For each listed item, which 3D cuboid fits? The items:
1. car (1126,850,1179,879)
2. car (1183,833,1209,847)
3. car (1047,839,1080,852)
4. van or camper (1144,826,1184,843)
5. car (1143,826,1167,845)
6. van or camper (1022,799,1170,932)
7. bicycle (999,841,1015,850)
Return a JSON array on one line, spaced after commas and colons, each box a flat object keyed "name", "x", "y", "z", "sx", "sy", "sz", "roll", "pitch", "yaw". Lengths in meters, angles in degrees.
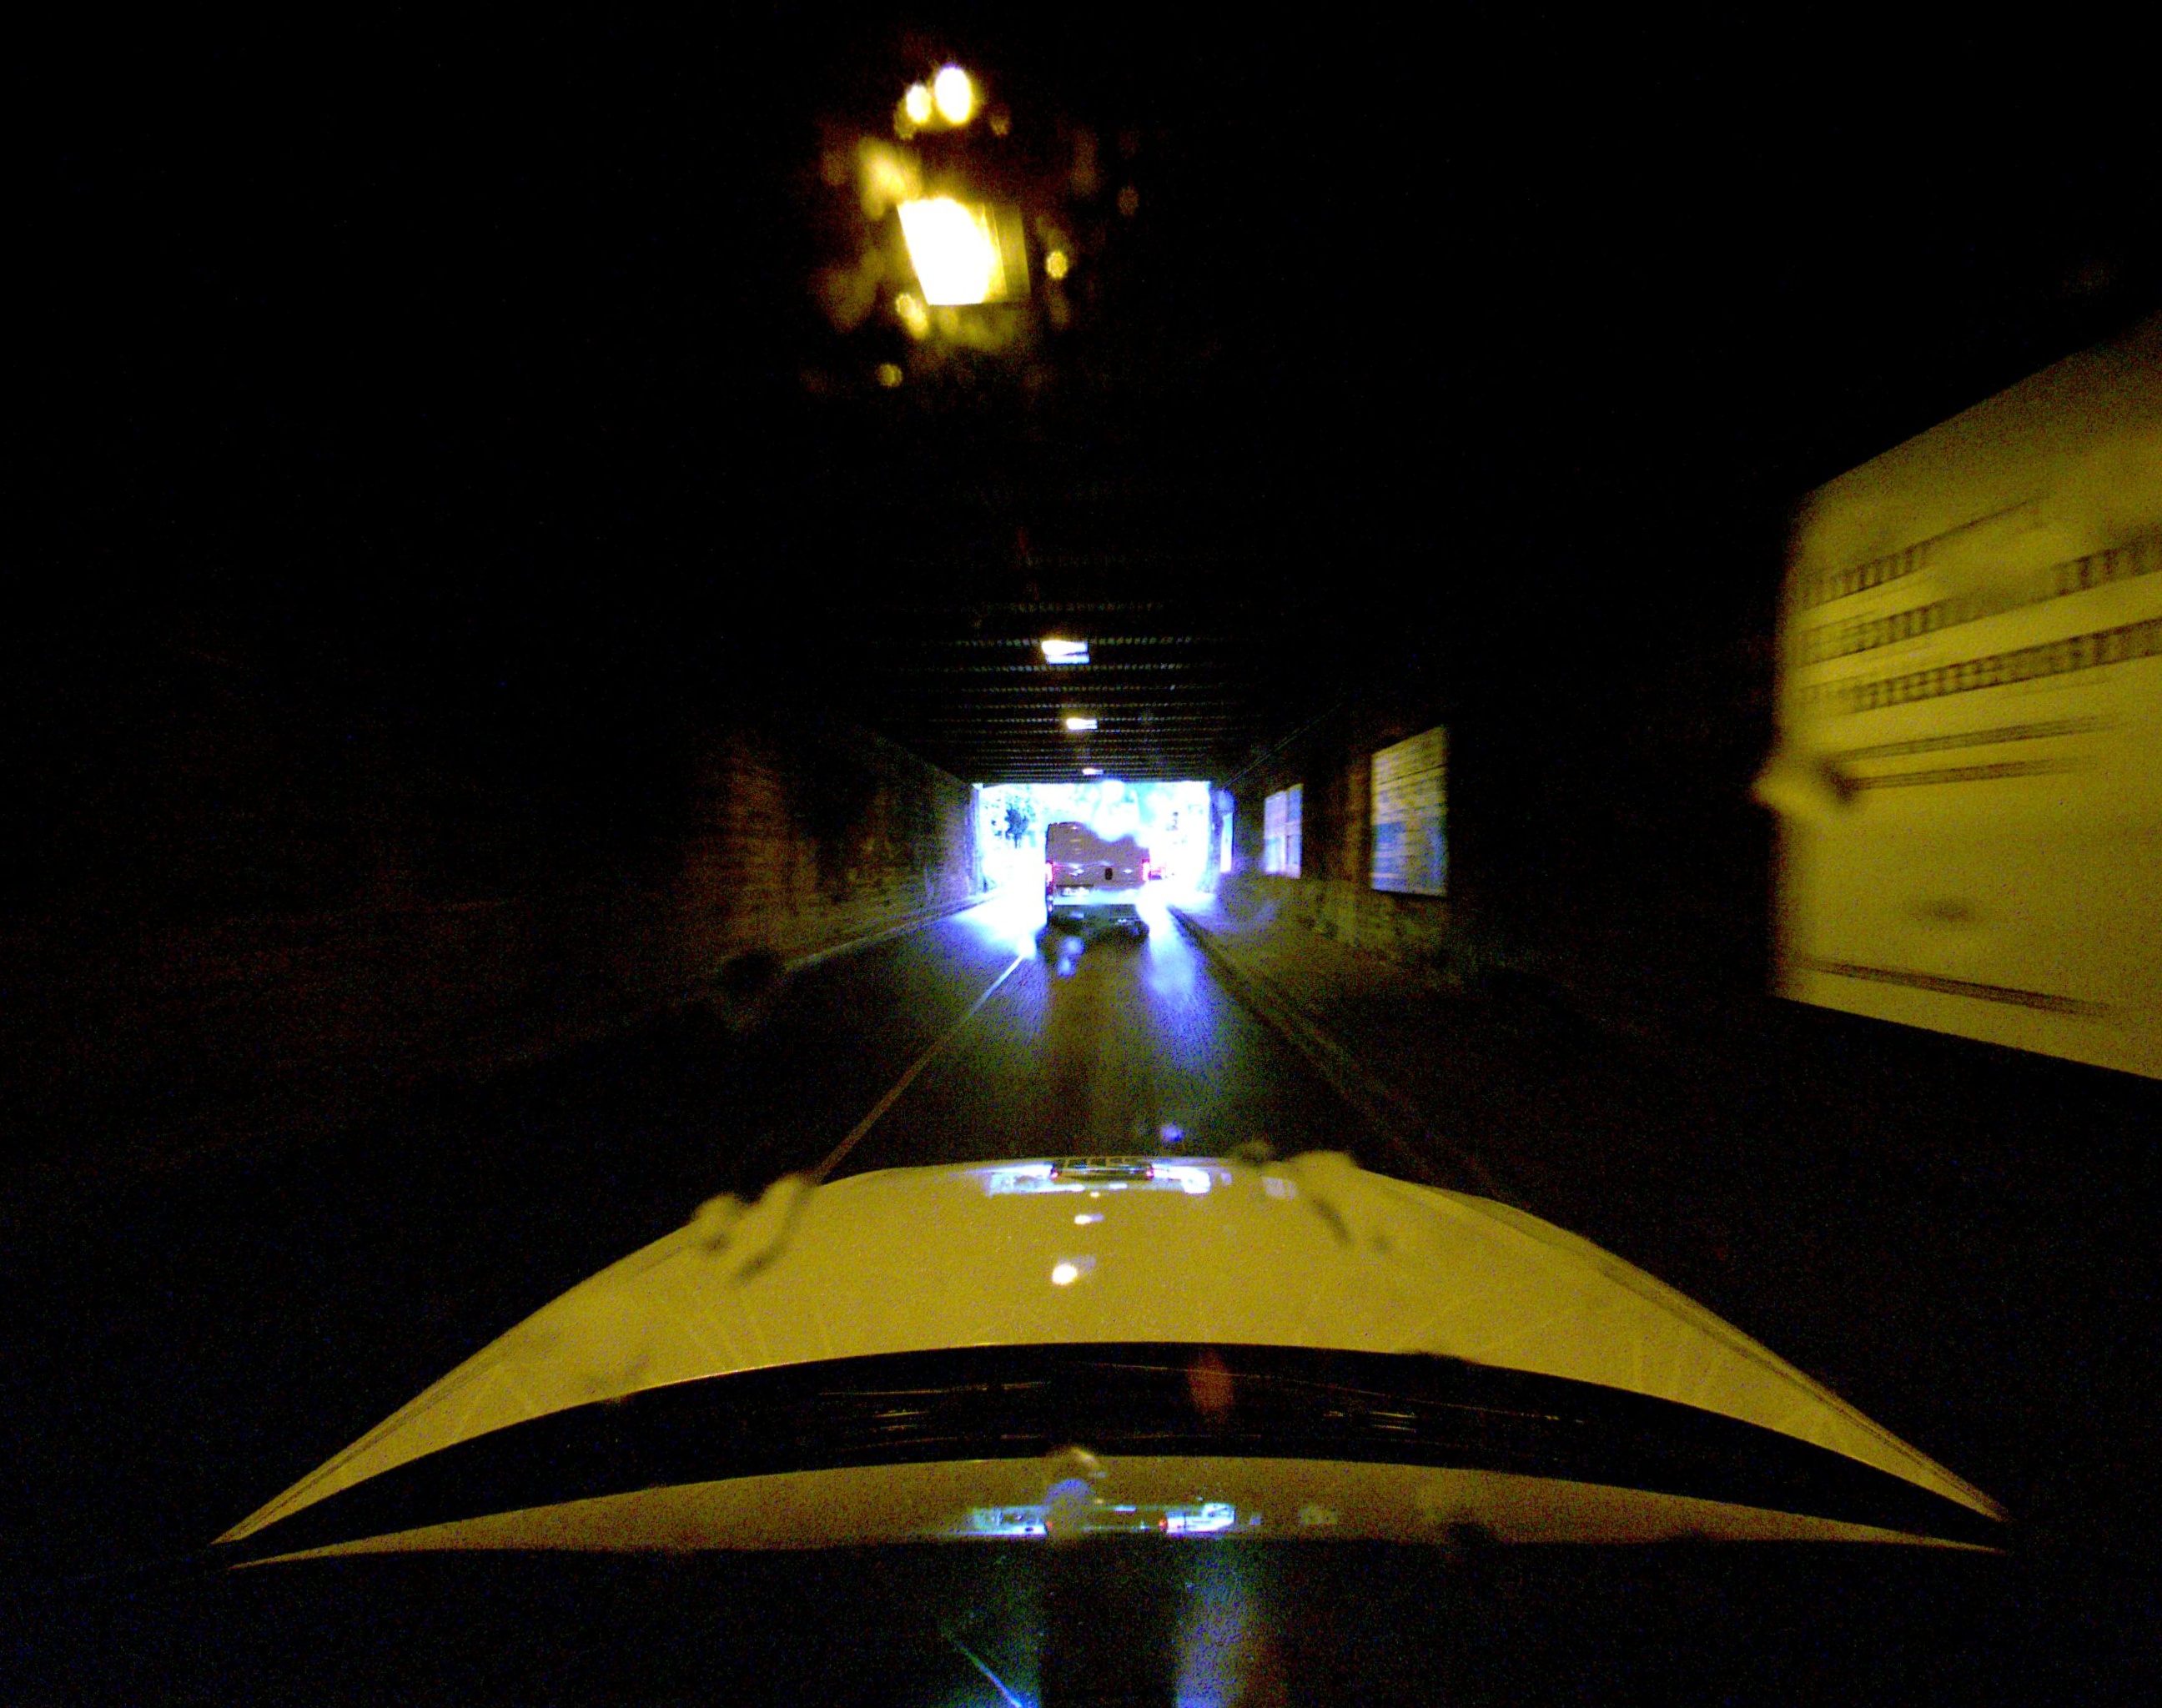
[{"name": "car", "x": 3.839, "y": 0.530, "z": 42.847, "sx": 1.821, "sy": 1.438, "sz": 4.122, "roll": -2, "pitch": -1, "yaw": 19}, {"name": "car", "x": 12.589, "y": -1.552, "z": 89.600, "sx": 1.990, "sy": 1.486, "sz": 3.994, "roll": -1, "pitch": 0, "yaw": -4}, {"name": "car", "x": -2.238, "y": -1.088, "z": 105.695, "sx": 1.975, "sy": 1.688, "sz": 4.024, "roll": -1, "pitch": 0, "yaw": 45}, {"name": "van or camper", "x": 11.056, "y": -2.582, "z": 108.274, "sx": 5.279, "sy": 2.013, "sz": 2.083, "roll": -1, "pitch": 0, "yaw": 7}, {"name": "car", "x": 8.042, "y": -2.004, "z": 89.192, "sx": 1.990, "sy": 1.947, "sz": 3.994, "roll": -1, "pitch": 0, "yaw": -4}, {"name": "van or camper", "x": 0.334, "y": 0.286, "z": 17.421, "sx": 2.688, "sy": 2.417, "sz": 4.904, "roll": -1, "pitch": -2, "yaw": 1}, {"name": "bicycle", "x": -9.201, "y": -1.092, "z": 101.338, "sx": 0.919, "sy": 1.128, "sz": 2.303, "roll": -1, "pitch": 0, "yaw": 23}]
